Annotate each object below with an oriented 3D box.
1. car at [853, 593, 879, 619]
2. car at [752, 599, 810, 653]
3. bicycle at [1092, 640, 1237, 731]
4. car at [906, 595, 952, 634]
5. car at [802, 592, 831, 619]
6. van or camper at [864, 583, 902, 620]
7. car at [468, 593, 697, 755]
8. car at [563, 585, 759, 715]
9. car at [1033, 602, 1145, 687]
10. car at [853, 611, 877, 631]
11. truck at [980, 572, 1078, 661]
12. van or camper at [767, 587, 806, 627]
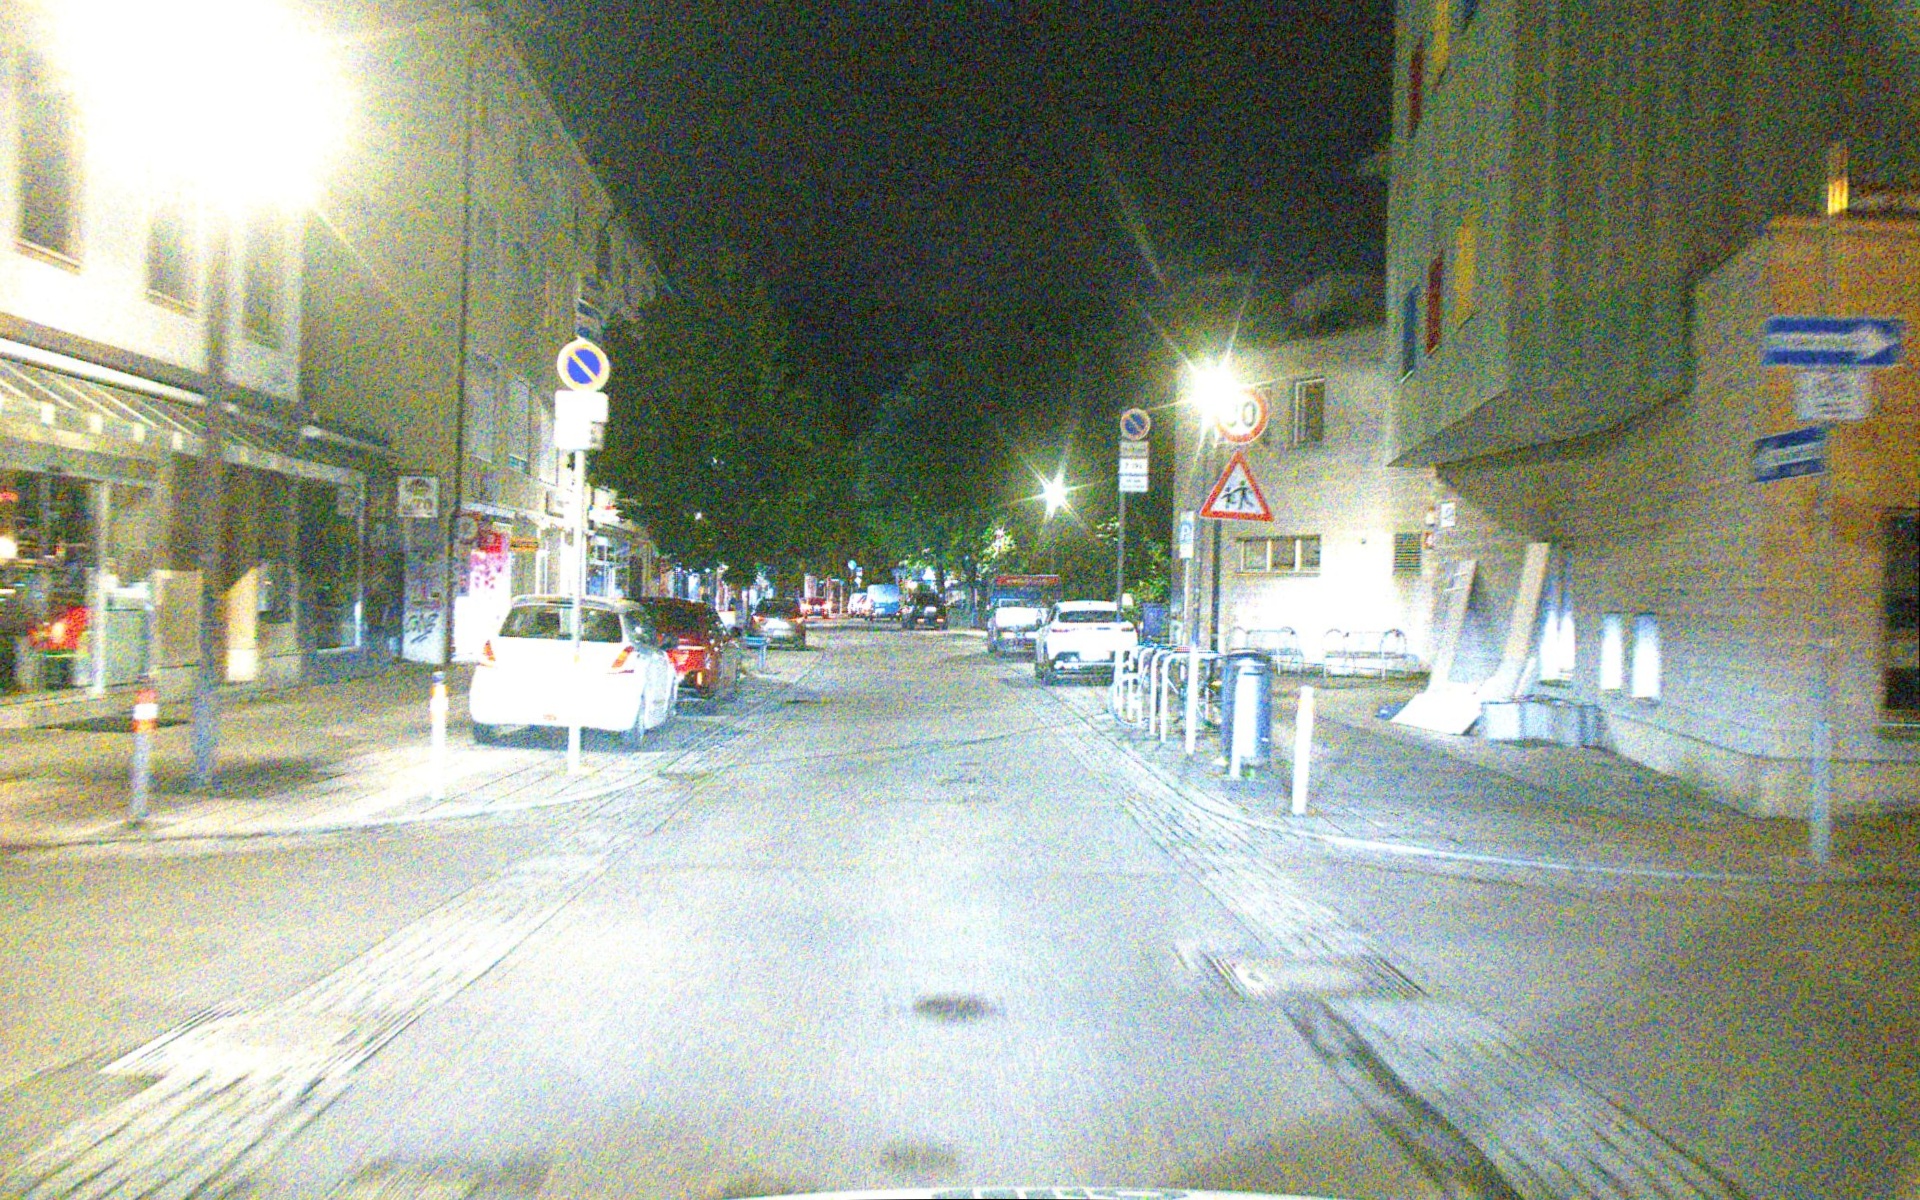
[{"bbox_3d":[-7.250,0.430,127.298,1.804,1.934,3.839,1,0,-7],"label":"car"},{"bbox_3d":[-5.564,0.772,51.198,1.642,1.570,4.223,2,0,-8],"label":"car"},{"bbox_3d":[2.492,1.044,20.203,1.720,1.081,0.346,1,-1,-5],"label":"bicycle"},{"bbox_3d":[-1.588,0.700,82.533,1.781,1.860,4.339,1,0,-8],"label":"car"},{"bbox_3d":[-10.444,0.402,120.216,1.955,1.855,3.994,1,0,-6],"label":"car"},{"bbox_3d":[-5.071,0.073,108.278,2.069,2.358,4.253,0,0,-9],"label":"van or camper"},{"bbox_3d":[-3.920,0.721,17.770,1.694,1.502,3.844,2,0,-3],"label":"car"},{"bbox_3d":[-4.087,0.650,23.422,1.979,1.514,5.005,4,0,-3],"label":"car"},{"bbox_3d":[2.407,0.806,31.752,1.753,1.517,4.058,-1,0,-1],"label":"car"},{"bbox_3d":[-6.946,1.516,121.227,1.502,1.443,3.839,1,0,-7],"label":"car"},{"bbox_3d":[1.886,0.449,47.133,2.289,2.352,5.777,0,0,-2],"label":"truck"},{"bbox_3d":[-9.359,0.377,88.954,1.832,2.046,4.253,3,-1,-9],"label":"van or camper"}]
